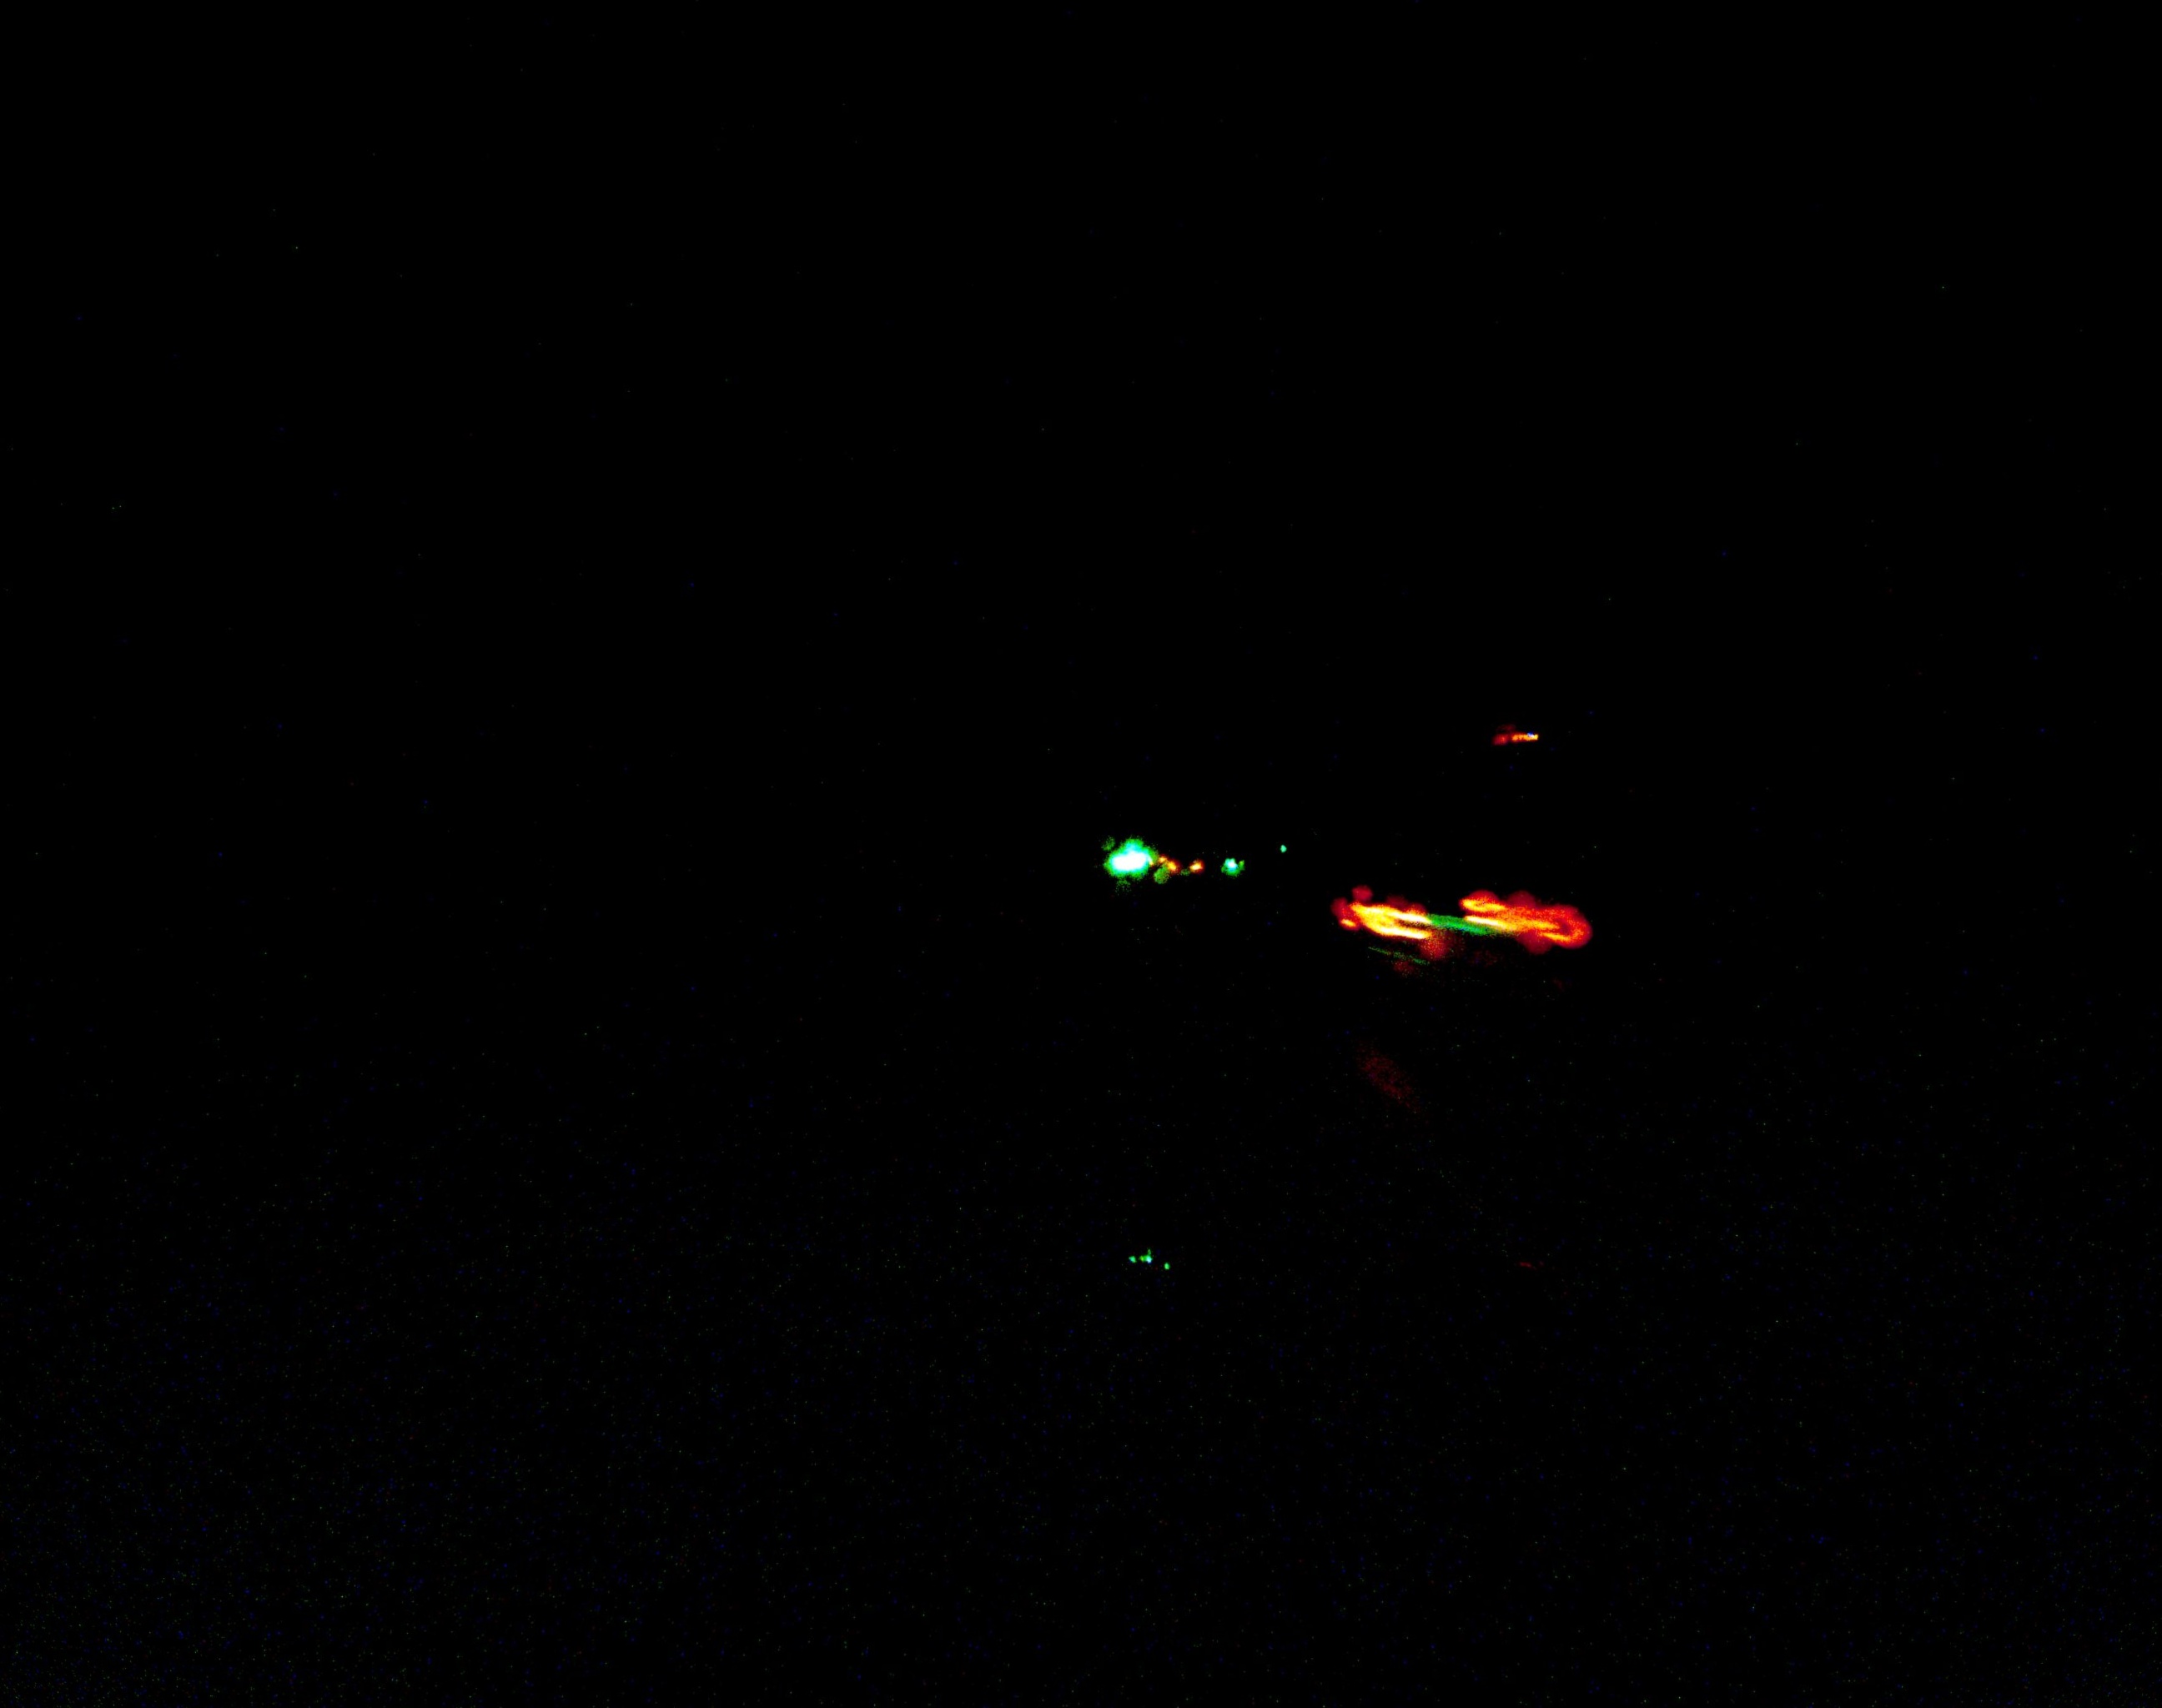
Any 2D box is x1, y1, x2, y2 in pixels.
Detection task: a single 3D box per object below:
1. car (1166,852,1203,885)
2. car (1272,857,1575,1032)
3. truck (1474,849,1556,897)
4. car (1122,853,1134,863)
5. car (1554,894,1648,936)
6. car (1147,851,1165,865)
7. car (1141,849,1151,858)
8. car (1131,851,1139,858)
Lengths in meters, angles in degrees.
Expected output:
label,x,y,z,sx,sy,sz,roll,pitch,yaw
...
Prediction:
label,x,y,z,sx,sy,sz,roll,pitch,yaw
car,5.200,0.700,38.583,1.640,1.511,3.771,-1,1,5
car,3.540,0.819,8.662,1.790,1.470,3.680,-2,1,1
truck,34.316,1.375,60.458,2.761,3.462,8.110,-2,0,8
car,8.083,0.697,130.227,1.823,1.565,4.107,-2,1,5
car,25.819,2.995,37.921,1.812,1.666,4.293,-2,1,2
car,7.856,0.407,79.695,1.715,1.409,4.066,-2,1,3
car,12.255,-0.122,143.140,1.831,1.608,3.729,-2,1,4
car,12.671,0.008,178.613,1.782,1.565,4.001,-2,1,6
